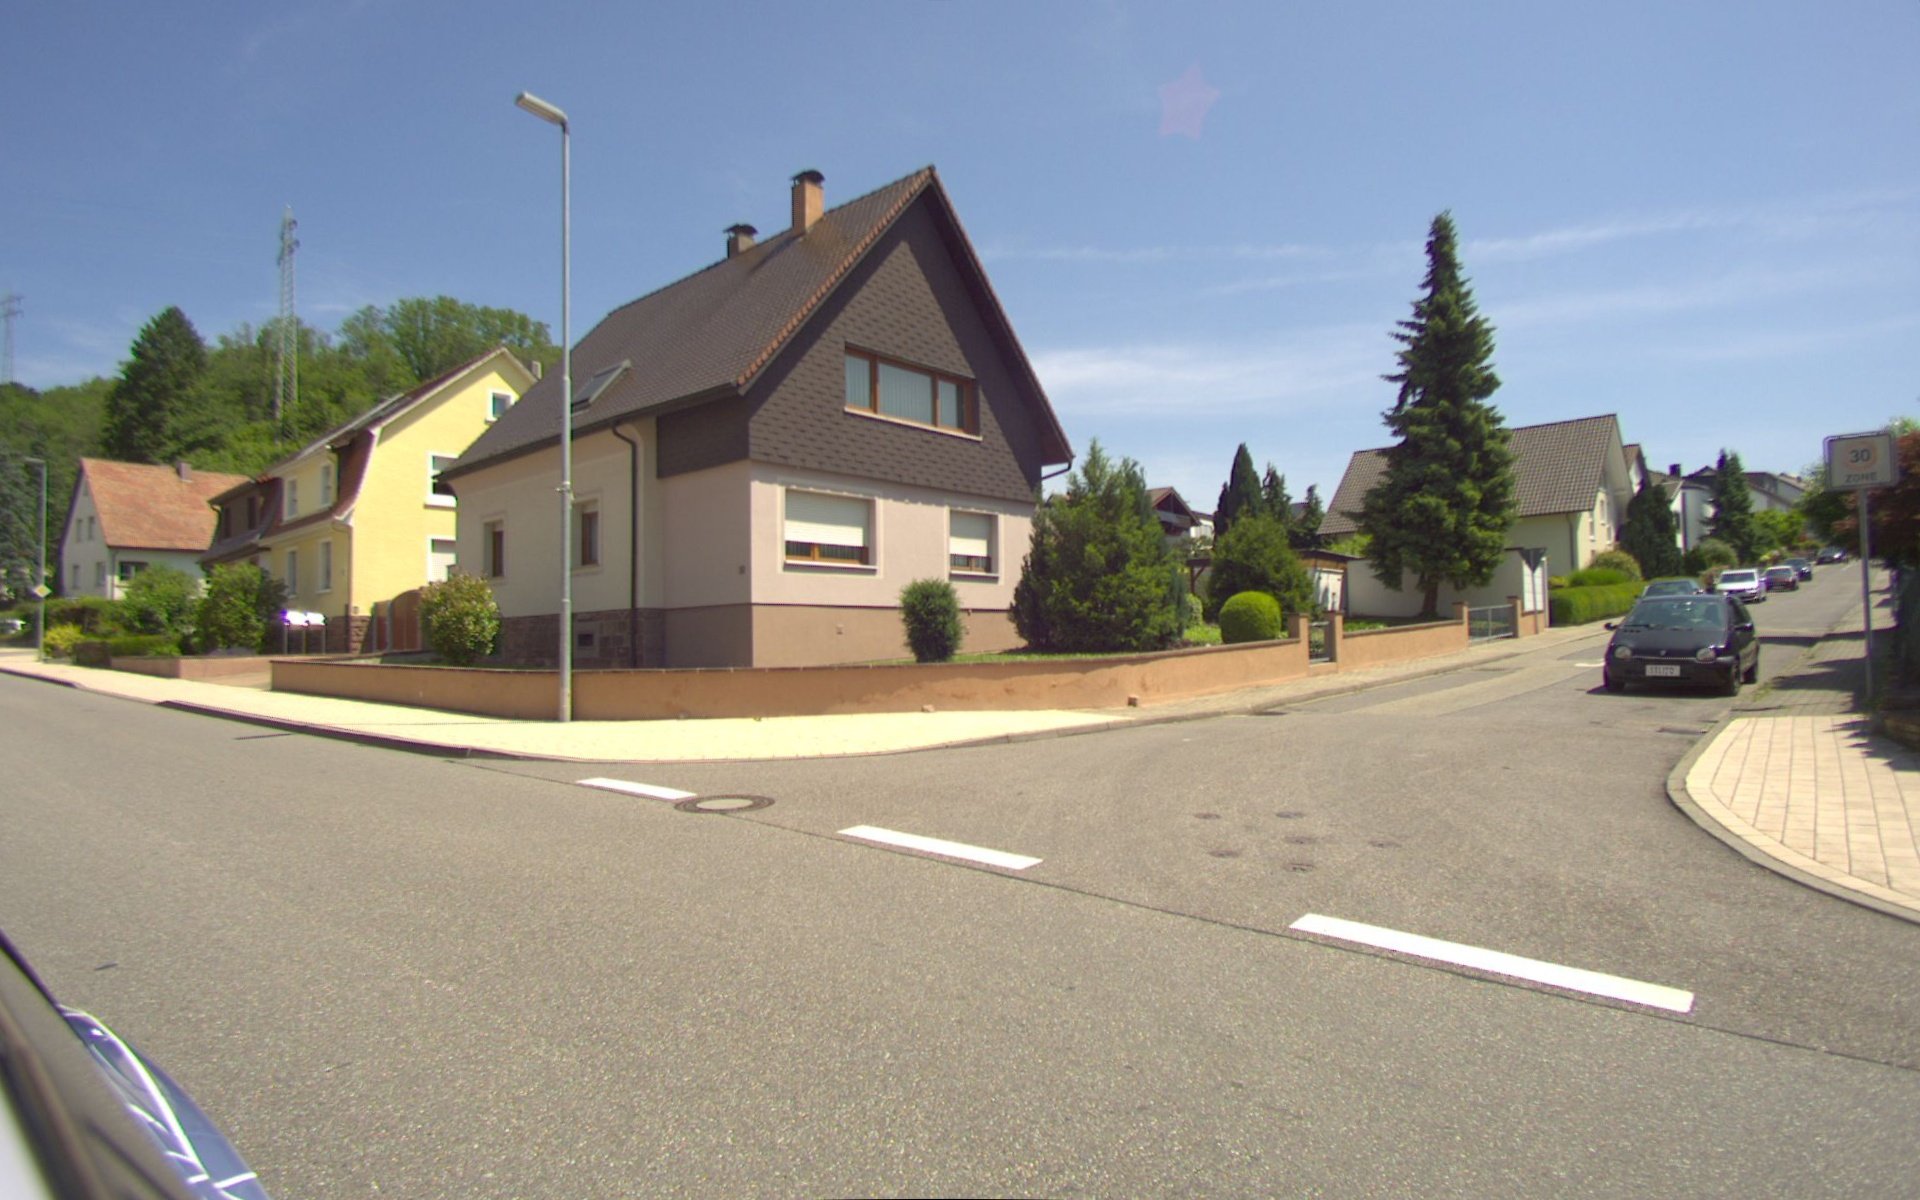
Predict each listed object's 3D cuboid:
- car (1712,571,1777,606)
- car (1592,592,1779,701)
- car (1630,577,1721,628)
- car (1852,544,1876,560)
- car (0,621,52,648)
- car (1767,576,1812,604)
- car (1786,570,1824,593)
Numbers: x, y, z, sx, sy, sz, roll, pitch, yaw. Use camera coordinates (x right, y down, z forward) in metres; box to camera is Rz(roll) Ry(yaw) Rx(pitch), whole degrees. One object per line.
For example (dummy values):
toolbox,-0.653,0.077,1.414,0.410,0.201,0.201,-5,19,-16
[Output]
car,37.671,-0.557,48.558,1.931,1.563,4.239,-2,0,45
car,11.281,0.631,15.642,3.700,1.427,1.753,-1,0,-45
car,24.457,0.070,34.540,3.851,1.563,1.877,-3,1,-45
car,99.013,-5.220,110.867,3.619,1.563,1.729,-2,0,-45
car,-64.380,2.324,68.501,1.796,1.803,3.976,-1,-1,18
car,49.653,-0.590,60.572,3.619,1.563,1.729,-2,0,-45
car,60.487,-1.348,72.398,3.619,1.563,1.729,-2,0,-45
